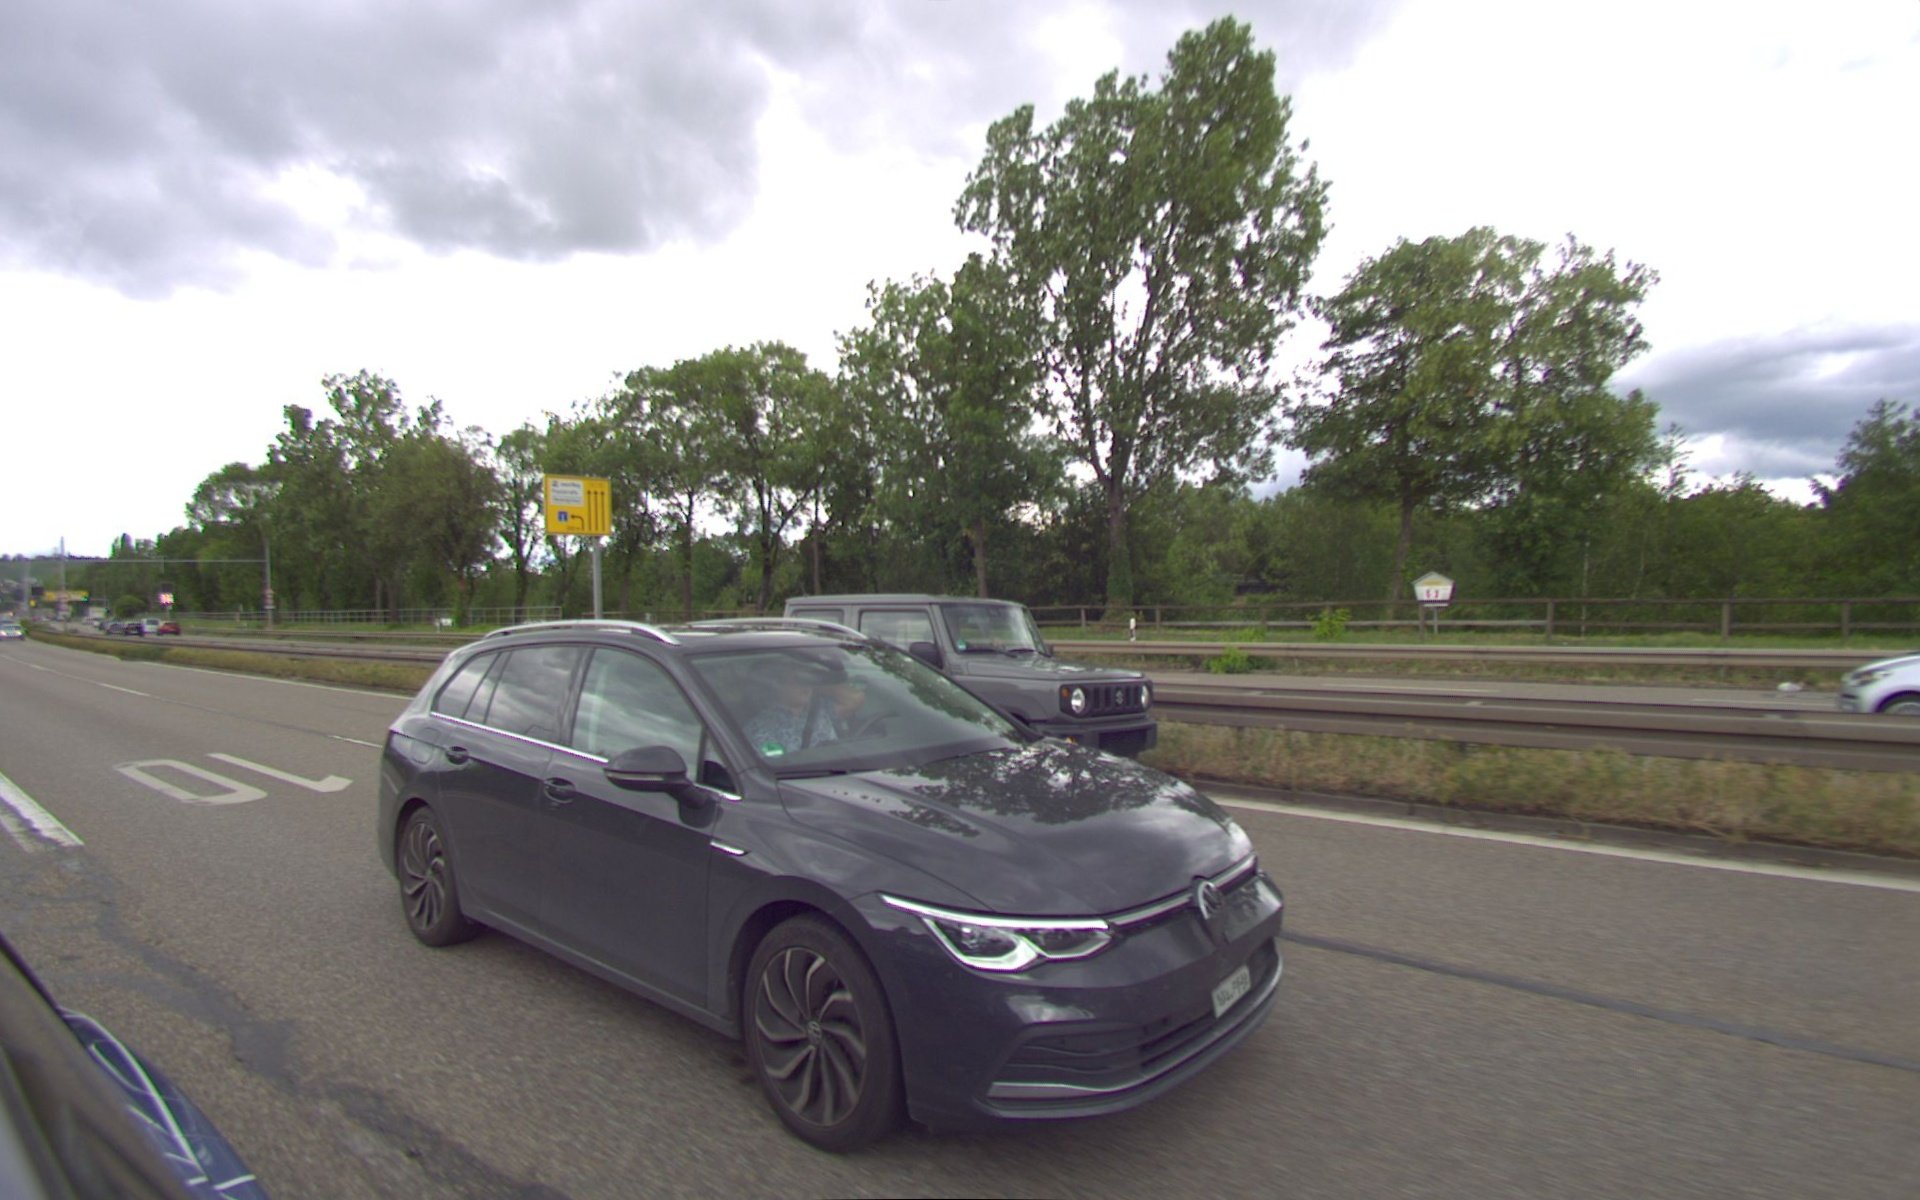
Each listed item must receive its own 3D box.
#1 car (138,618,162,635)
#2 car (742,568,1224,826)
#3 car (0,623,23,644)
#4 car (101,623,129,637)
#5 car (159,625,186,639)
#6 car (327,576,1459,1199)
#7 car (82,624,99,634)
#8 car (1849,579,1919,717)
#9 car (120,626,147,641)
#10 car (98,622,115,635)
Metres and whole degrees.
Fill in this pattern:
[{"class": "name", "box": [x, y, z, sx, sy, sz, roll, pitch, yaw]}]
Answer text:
[{"class": "car", "box": [-93.753, 3.025, 117.154, 4.563, 1.898, 1.592, -2, -1, 44]}, {"class": "car", "box": [0.028, 0.706, 8.659, 3.998, 1.699, 1.680, -2, -2, 42]}, {"class": "car", "box": [-84.006, 2.986, 89.284, 1.857, 1.738, 4.149, -2, 0, -45]}, {"class": "car", "box": [-94.104, 3.346, 112.703, 5.552, 1.476, 1.840, -2, -1, 44]}, {"class": "car", "box": [-83.224, 3.366, 106.912, 4.382, 1.476, 1.698, -2, -1, 44]}, {"class": "car", "box": [-0.804, 0.720, 4.269, 4.898, 1.434, 1.826, -2, 0, 41]}, {"class": "car", "box": [-150.462, 5.016, 175.102, 1.845, 1.687, 4.721, 0, -2, -45]}, {"class": "car", "box": [11.323, 0.448, 10.022, 3.731, 1.396, 1.598, -2, 0, 41]}, {"class": "car", "box": [-82.425, 3.306, 100.956, 3.912, 1.435, 1.642, -2, -1, 44]}, {"class": "car", "box": [-125.256, 4.202, 148.528, 1.706, 1.788, 3.744, 0, -1, -44]}]
